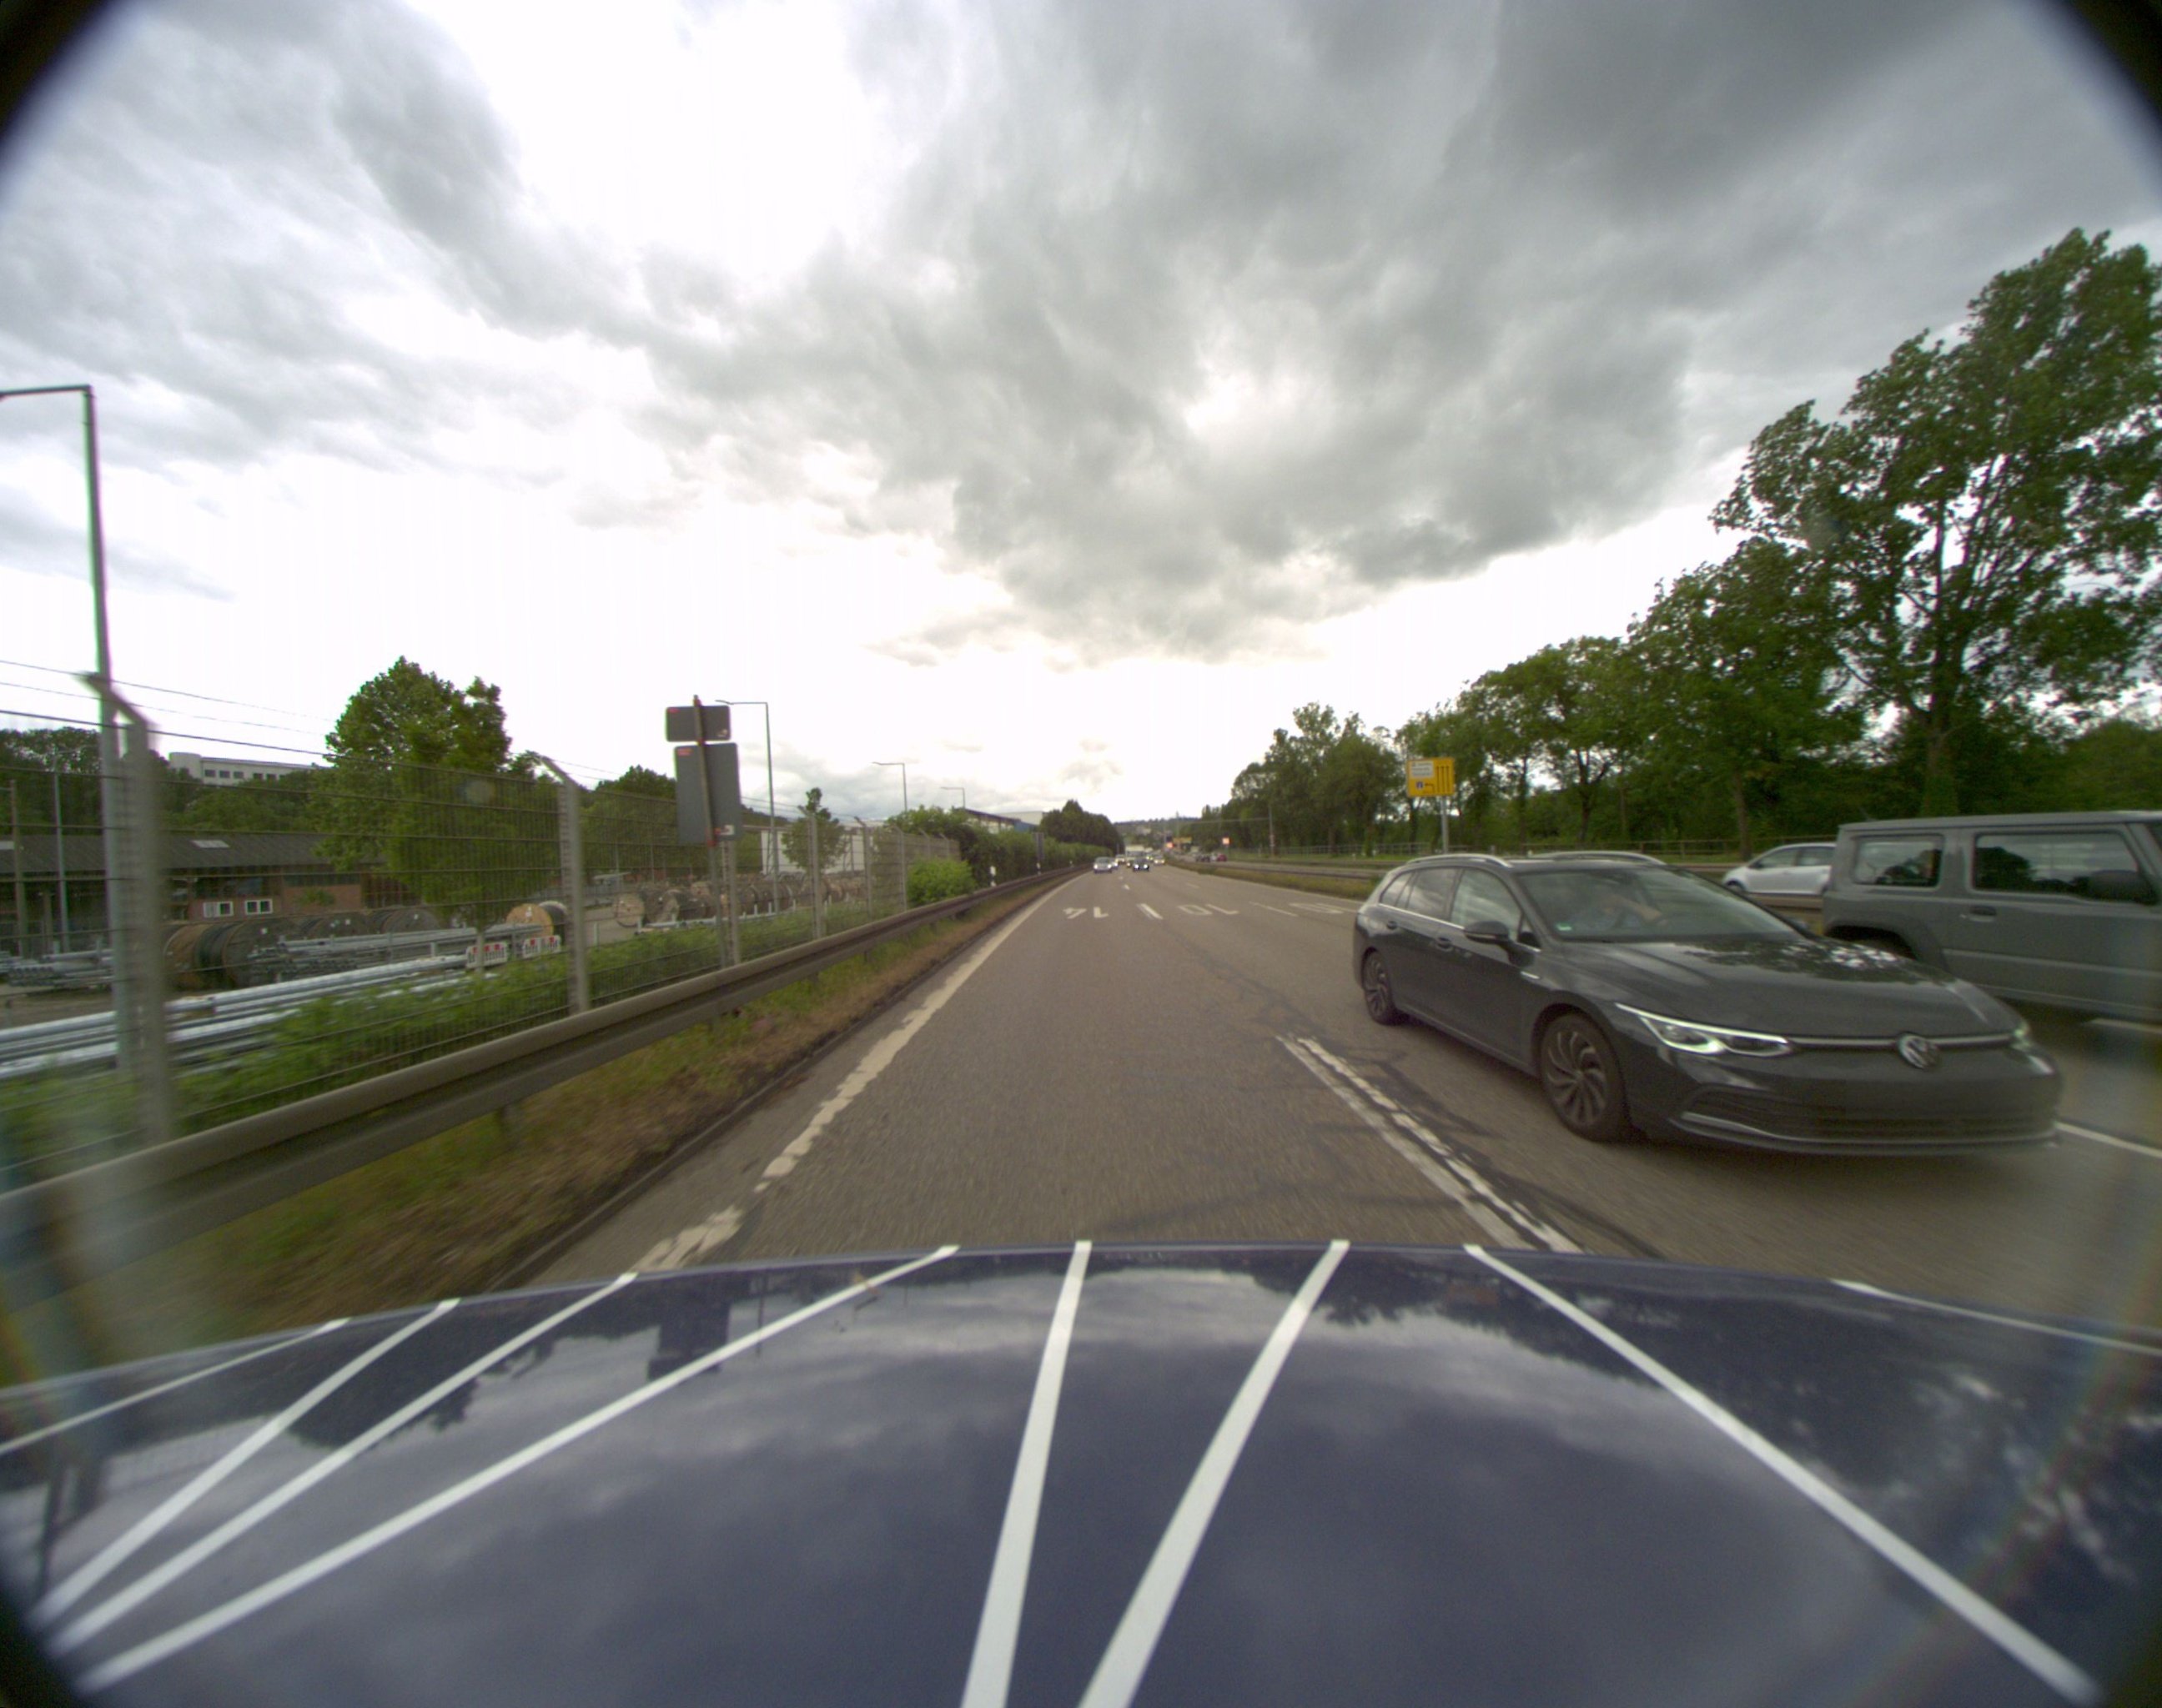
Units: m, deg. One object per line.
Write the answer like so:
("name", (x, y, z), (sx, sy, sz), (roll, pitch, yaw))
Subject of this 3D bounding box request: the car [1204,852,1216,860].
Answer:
("car", (24.801, 0.415, 146.148), (1.664, 1.415, 3.912), (-2, 0, 3))

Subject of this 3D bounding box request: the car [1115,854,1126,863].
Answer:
("car", (7.875, 0.892, 149.979), (1.883, 1.714, 4.148), (-3, -1, 5))

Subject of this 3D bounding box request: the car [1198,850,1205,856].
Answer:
("car", (33.093, -0.270, 209.169), (1.730, 1.764, 3.743), (-2, 0, 5))

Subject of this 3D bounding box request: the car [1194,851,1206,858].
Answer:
("car", (25.477, 0.176, 162.549), (1.865, 1.456, 5.552), (-2, 0, 3))

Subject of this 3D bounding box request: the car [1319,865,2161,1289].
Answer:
("car", (3.329, 0.854, 5.228), (1.849, 1.415, 4.901), (-3, 0, 1))

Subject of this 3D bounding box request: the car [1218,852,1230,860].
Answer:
("car", (28.307, 0.325, 150.360), (1.721, 1.456, 4.382), (-2, 0, 3))

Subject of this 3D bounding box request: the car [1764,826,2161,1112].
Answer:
("car", (7.167, 0.671, 5.033), (1.702, 1.676, 4.000), (0, 0, 0))

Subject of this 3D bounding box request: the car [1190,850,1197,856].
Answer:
("car", (36.372, -0.371, 245.846), (1.871, 1.665, 4.721), (-1, 0, 5))

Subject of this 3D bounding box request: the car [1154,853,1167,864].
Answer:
("car", (12.694, 0.731, 121.197), (1.883, 1.714, 4.148), (-3, -1, 5))

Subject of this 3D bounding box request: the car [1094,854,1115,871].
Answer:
("car", (2.411, 0.851, 77.201), (1.883, 1.530, 4.148), (-3, -1, 5))

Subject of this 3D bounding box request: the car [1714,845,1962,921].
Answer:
("car", (15.940, 0.556, 16.301), (1.618, 1.377, 3.733), (-2, 0, 2))

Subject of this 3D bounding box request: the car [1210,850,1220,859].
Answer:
("car", (29.126, 0.056, 165.083), (1.614, 1.872, 4.563), (-2, 0, 3))

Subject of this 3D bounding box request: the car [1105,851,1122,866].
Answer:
("car", (4.142, 0.582, 96.247), (1.883, 1.714, 4.148), (-3, -1, 5))

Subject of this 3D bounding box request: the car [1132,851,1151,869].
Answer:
("car", (6.250, 0.586, 78.238), (1.883, 1.714, 4.148), (-3, -1, 5))

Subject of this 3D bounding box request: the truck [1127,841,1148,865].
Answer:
("truck", (8.083, -0.085, 108.564), (2.656, 3.120, 12.514), (-3, -1, 5))
